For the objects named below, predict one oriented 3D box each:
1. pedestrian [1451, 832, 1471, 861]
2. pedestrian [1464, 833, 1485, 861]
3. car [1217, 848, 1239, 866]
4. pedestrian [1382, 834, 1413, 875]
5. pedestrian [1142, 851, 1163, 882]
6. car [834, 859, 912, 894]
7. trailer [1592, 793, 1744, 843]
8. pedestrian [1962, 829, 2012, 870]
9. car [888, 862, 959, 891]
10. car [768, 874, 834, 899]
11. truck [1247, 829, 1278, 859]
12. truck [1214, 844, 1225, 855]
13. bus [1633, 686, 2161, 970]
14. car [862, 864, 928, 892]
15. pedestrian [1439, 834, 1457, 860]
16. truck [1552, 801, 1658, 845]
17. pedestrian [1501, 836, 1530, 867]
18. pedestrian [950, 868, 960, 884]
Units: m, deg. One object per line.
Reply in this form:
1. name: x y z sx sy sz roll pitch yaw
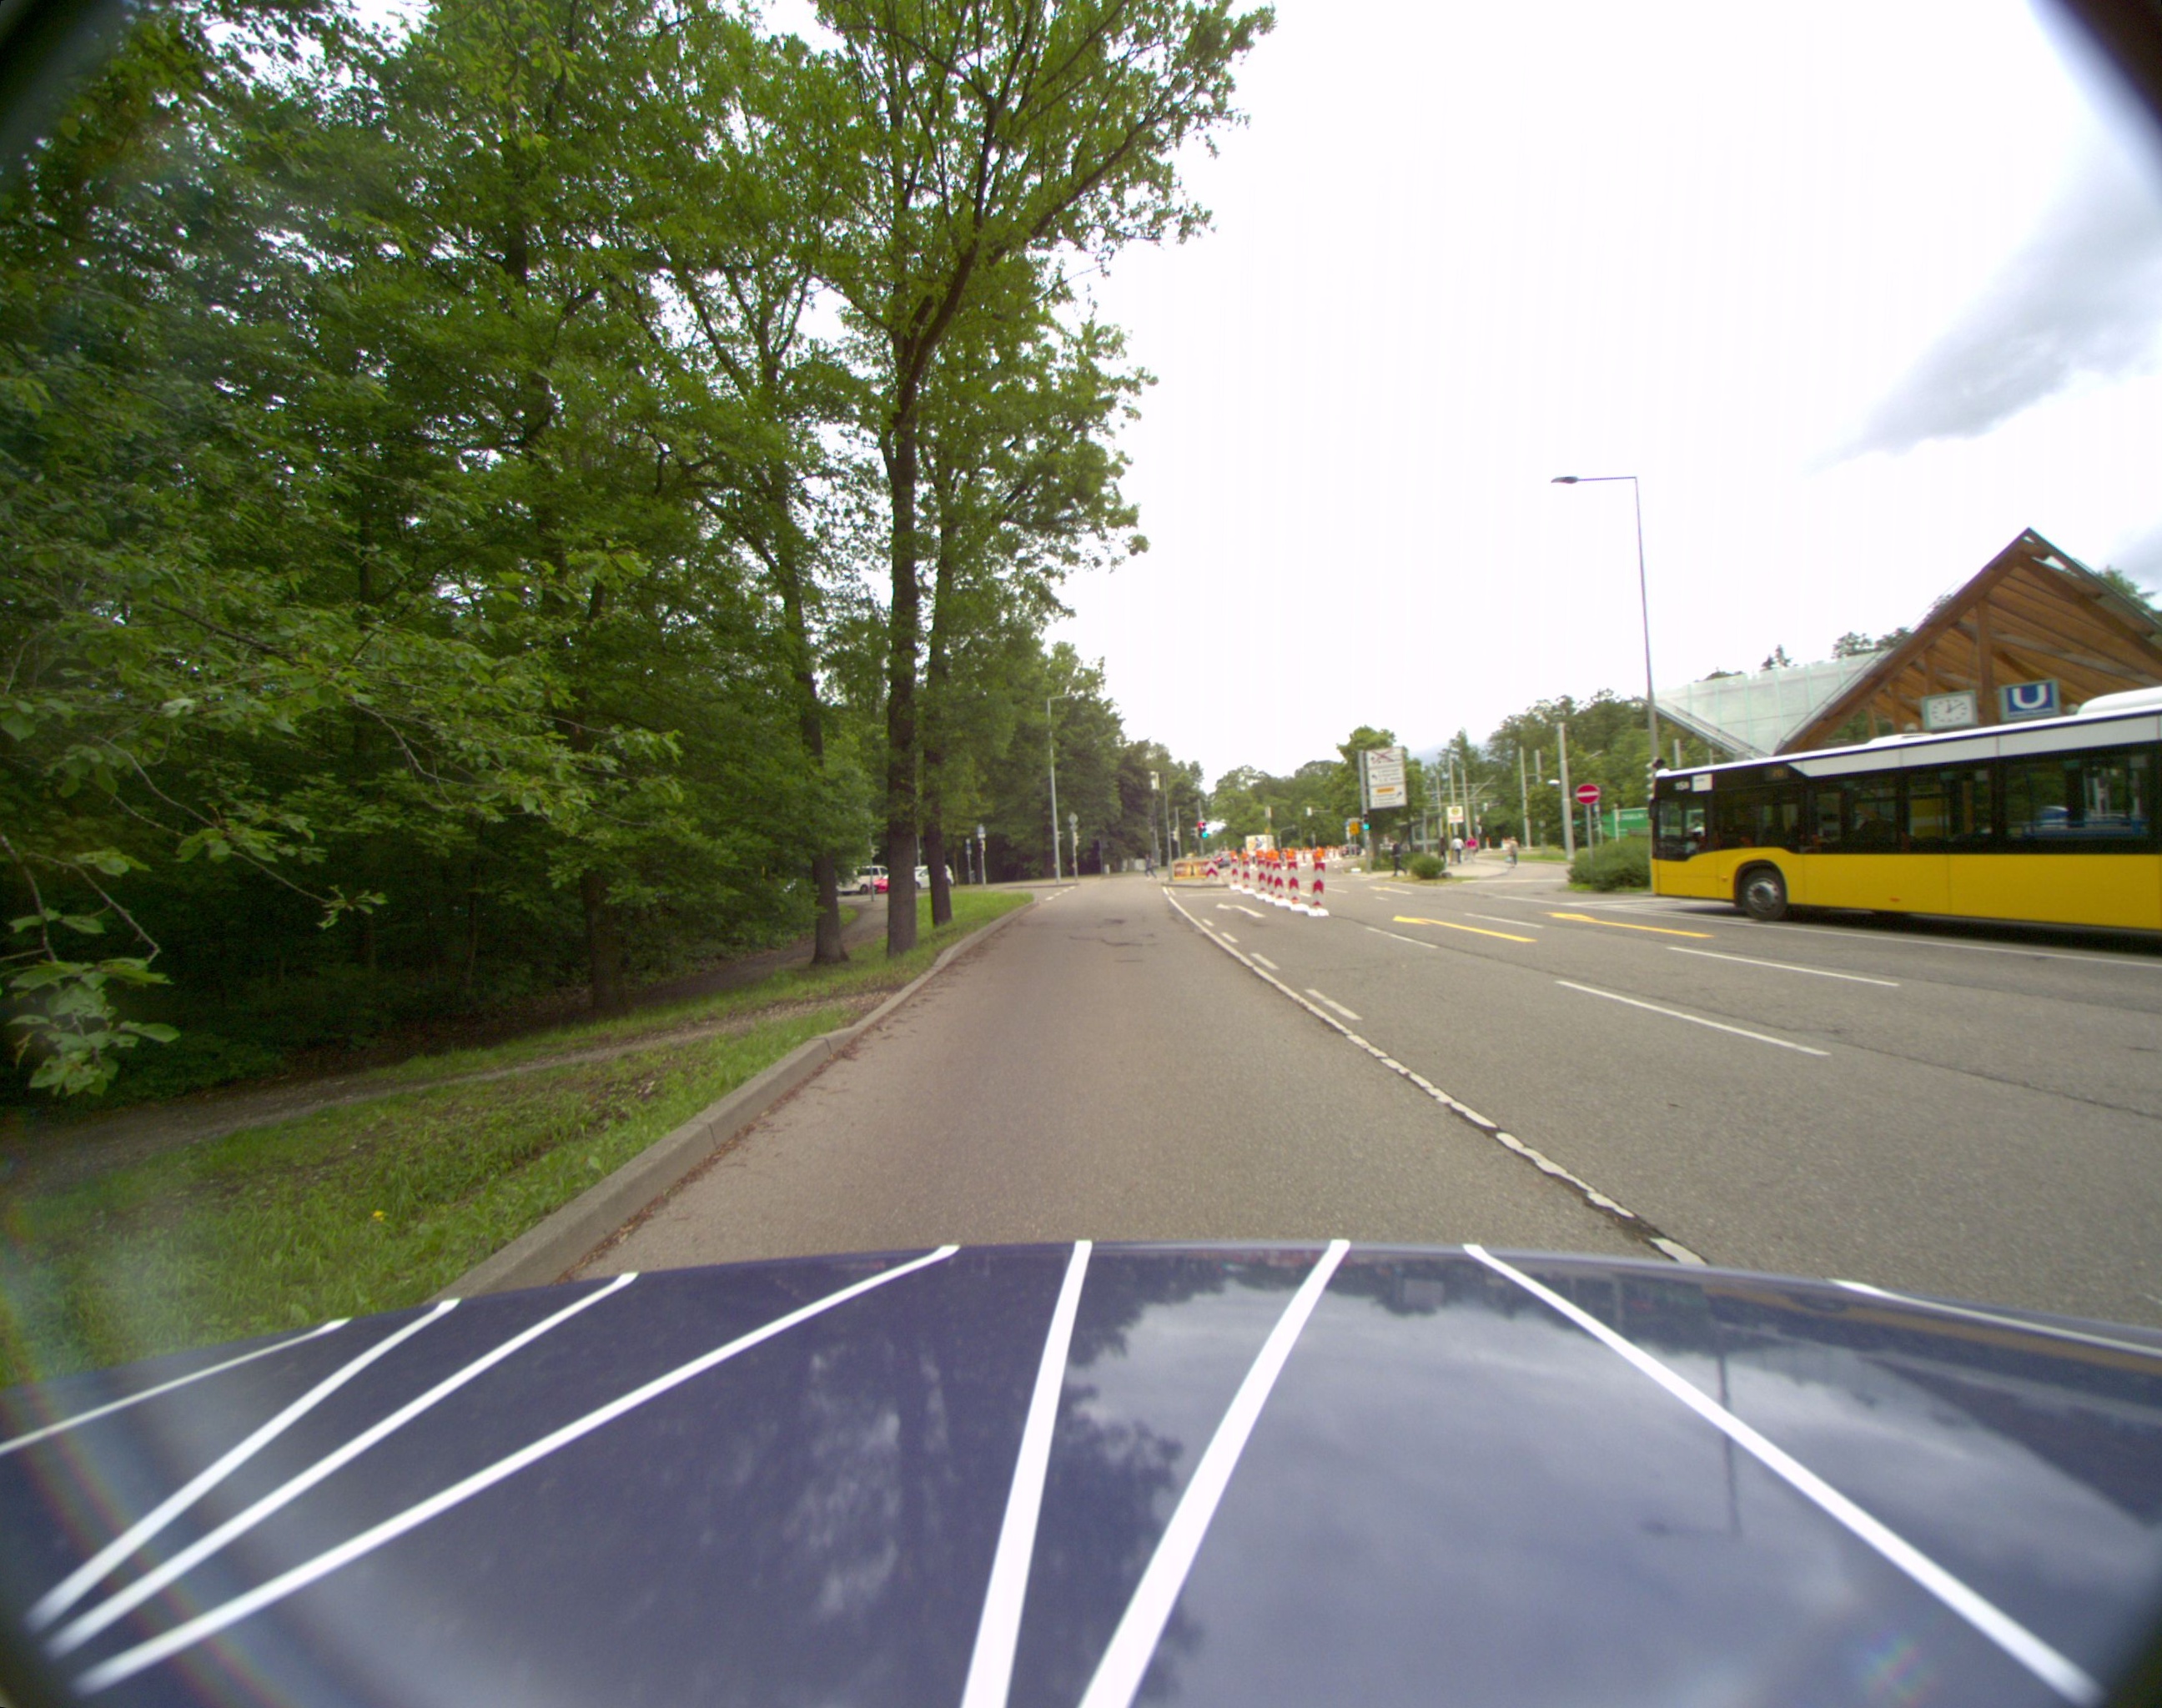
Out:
1. pedestrian: 22.525 -0.421 45.065 0.684 1.655 0.871 -4 0 8
2. pedestrian: 22.502 -0.378 43.483 0.791 1.542 0.776 -4 0 11
3. car: 13.632 0.284 70.496 1.811 1.500 4.310 -2 1 9
4. pedestrian: 14.630 0.034 35.128 0.992 1.798 0.768 -5 0 43
5. pedestrian: 4.049 0.690 42.939 1.092 1.666 0.911 -3 1 7
6. car: -14.713 1.576 54.077 2.058 1.946 5.191 -5 1 31
7. trailer: 58.432 -3.462 76.283 3.790 3.858 11.854 -4 -1 -18
8. pedestrian: 22.983 -0.114 19.283 0.556 0.978 0.566 -4 0 18
9. car: -10.534 1.494 51.102 1.995 1.542 4.429 -5 -1 35
10. car: -21.143 2.441 57.535 1.839 1.548 4.540 -5 -1 28
11. truck: 21.258 -1.175 88.871 2.631 3.219 6.215 -1 0 21
12. truck: 43.459 -1.550 238.427 2.743 3.192 6.680 -4 -1 15
13. bus: 13.293 -0.339 11.409 2.906 3.109 9.759 -2 0 0
14. car: -12.782 1.641 52.399 1.890 1.543 4.007 -5 -1 35
15. pedestrian: 22.309 -0.433 46.146 0.775 1.537 0.629 -4 1 13
16. truck: 56.494 -3.239 82.324 3.791 3.858 8.761 -4 -1 -18
17. pedestrian: 22.264 -0.141 38.951 0.768 1.516 0.874 -4 0 -21
18. pedestrian: -13.272 2.281 80.016 0.833 1.641 1.035 -4 0 -3
